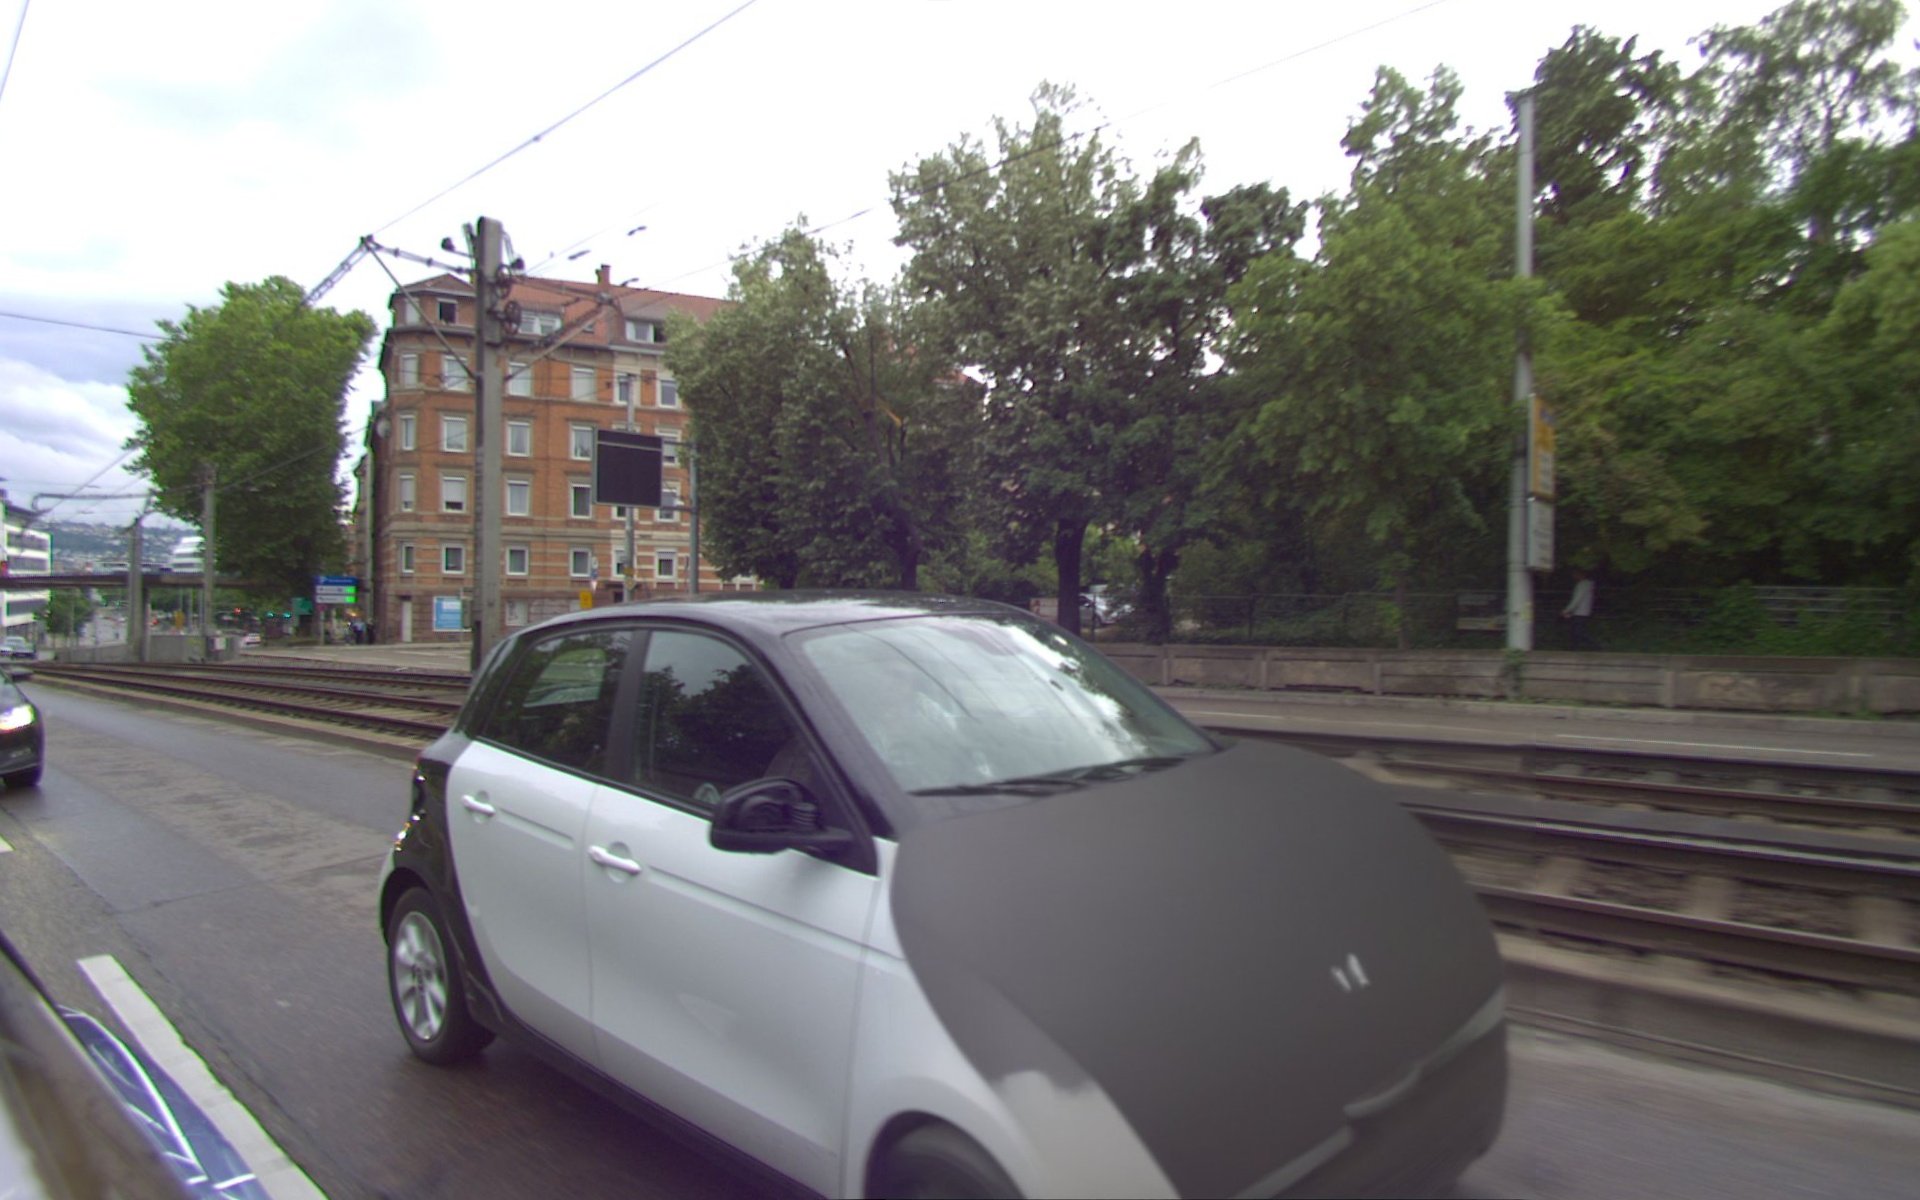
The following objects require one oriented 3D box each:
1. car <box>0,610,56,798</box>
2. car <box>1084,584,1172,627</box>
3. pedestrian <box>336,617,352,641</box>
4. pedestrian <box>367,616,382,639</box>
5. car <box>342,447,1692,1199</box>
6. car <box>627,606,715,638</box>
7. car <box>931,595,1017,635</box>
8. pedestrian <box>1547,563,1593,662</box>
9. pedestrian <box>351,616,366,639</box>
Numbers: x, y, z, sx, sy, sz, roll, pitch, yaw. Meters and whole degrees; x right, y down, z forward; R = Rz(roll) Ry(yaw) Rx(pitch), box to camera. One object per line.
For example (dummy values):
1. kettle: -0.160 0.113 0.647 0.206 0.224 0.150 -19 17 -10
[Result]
1. car: -9.599 0.886 8.931 3.960 1.497 1.776 -1 0 39
2. car: 7.913 0.259 48.082 1.966 1.922 4.012 -2 1 -30
3. pedestrian: -36.971 1.732 60.742 0.538 1.364 0.612 -1 1 41
4. pedestrian: -35.414 1.643 61.208 0.538 1.364 0.612 -2 -2 41
5. car: -0.227 0.645 2.975 3.719 1.542 1.659 -2 -2 41
6. car: -15.975 1.205 55.964 4.361 1.610 1.847 -1 0 -27
7. car: 0.573 0.634 44.863 1.966 1.634 4.012 -2 1 -30
8. pedestrian: 12.075 0.244 20.035 0.653 1.917 0.589 -1 0 40
9. pedestrian: -36.341 1.685 61.174 0.538 1.364 0.612 -1 1 41
